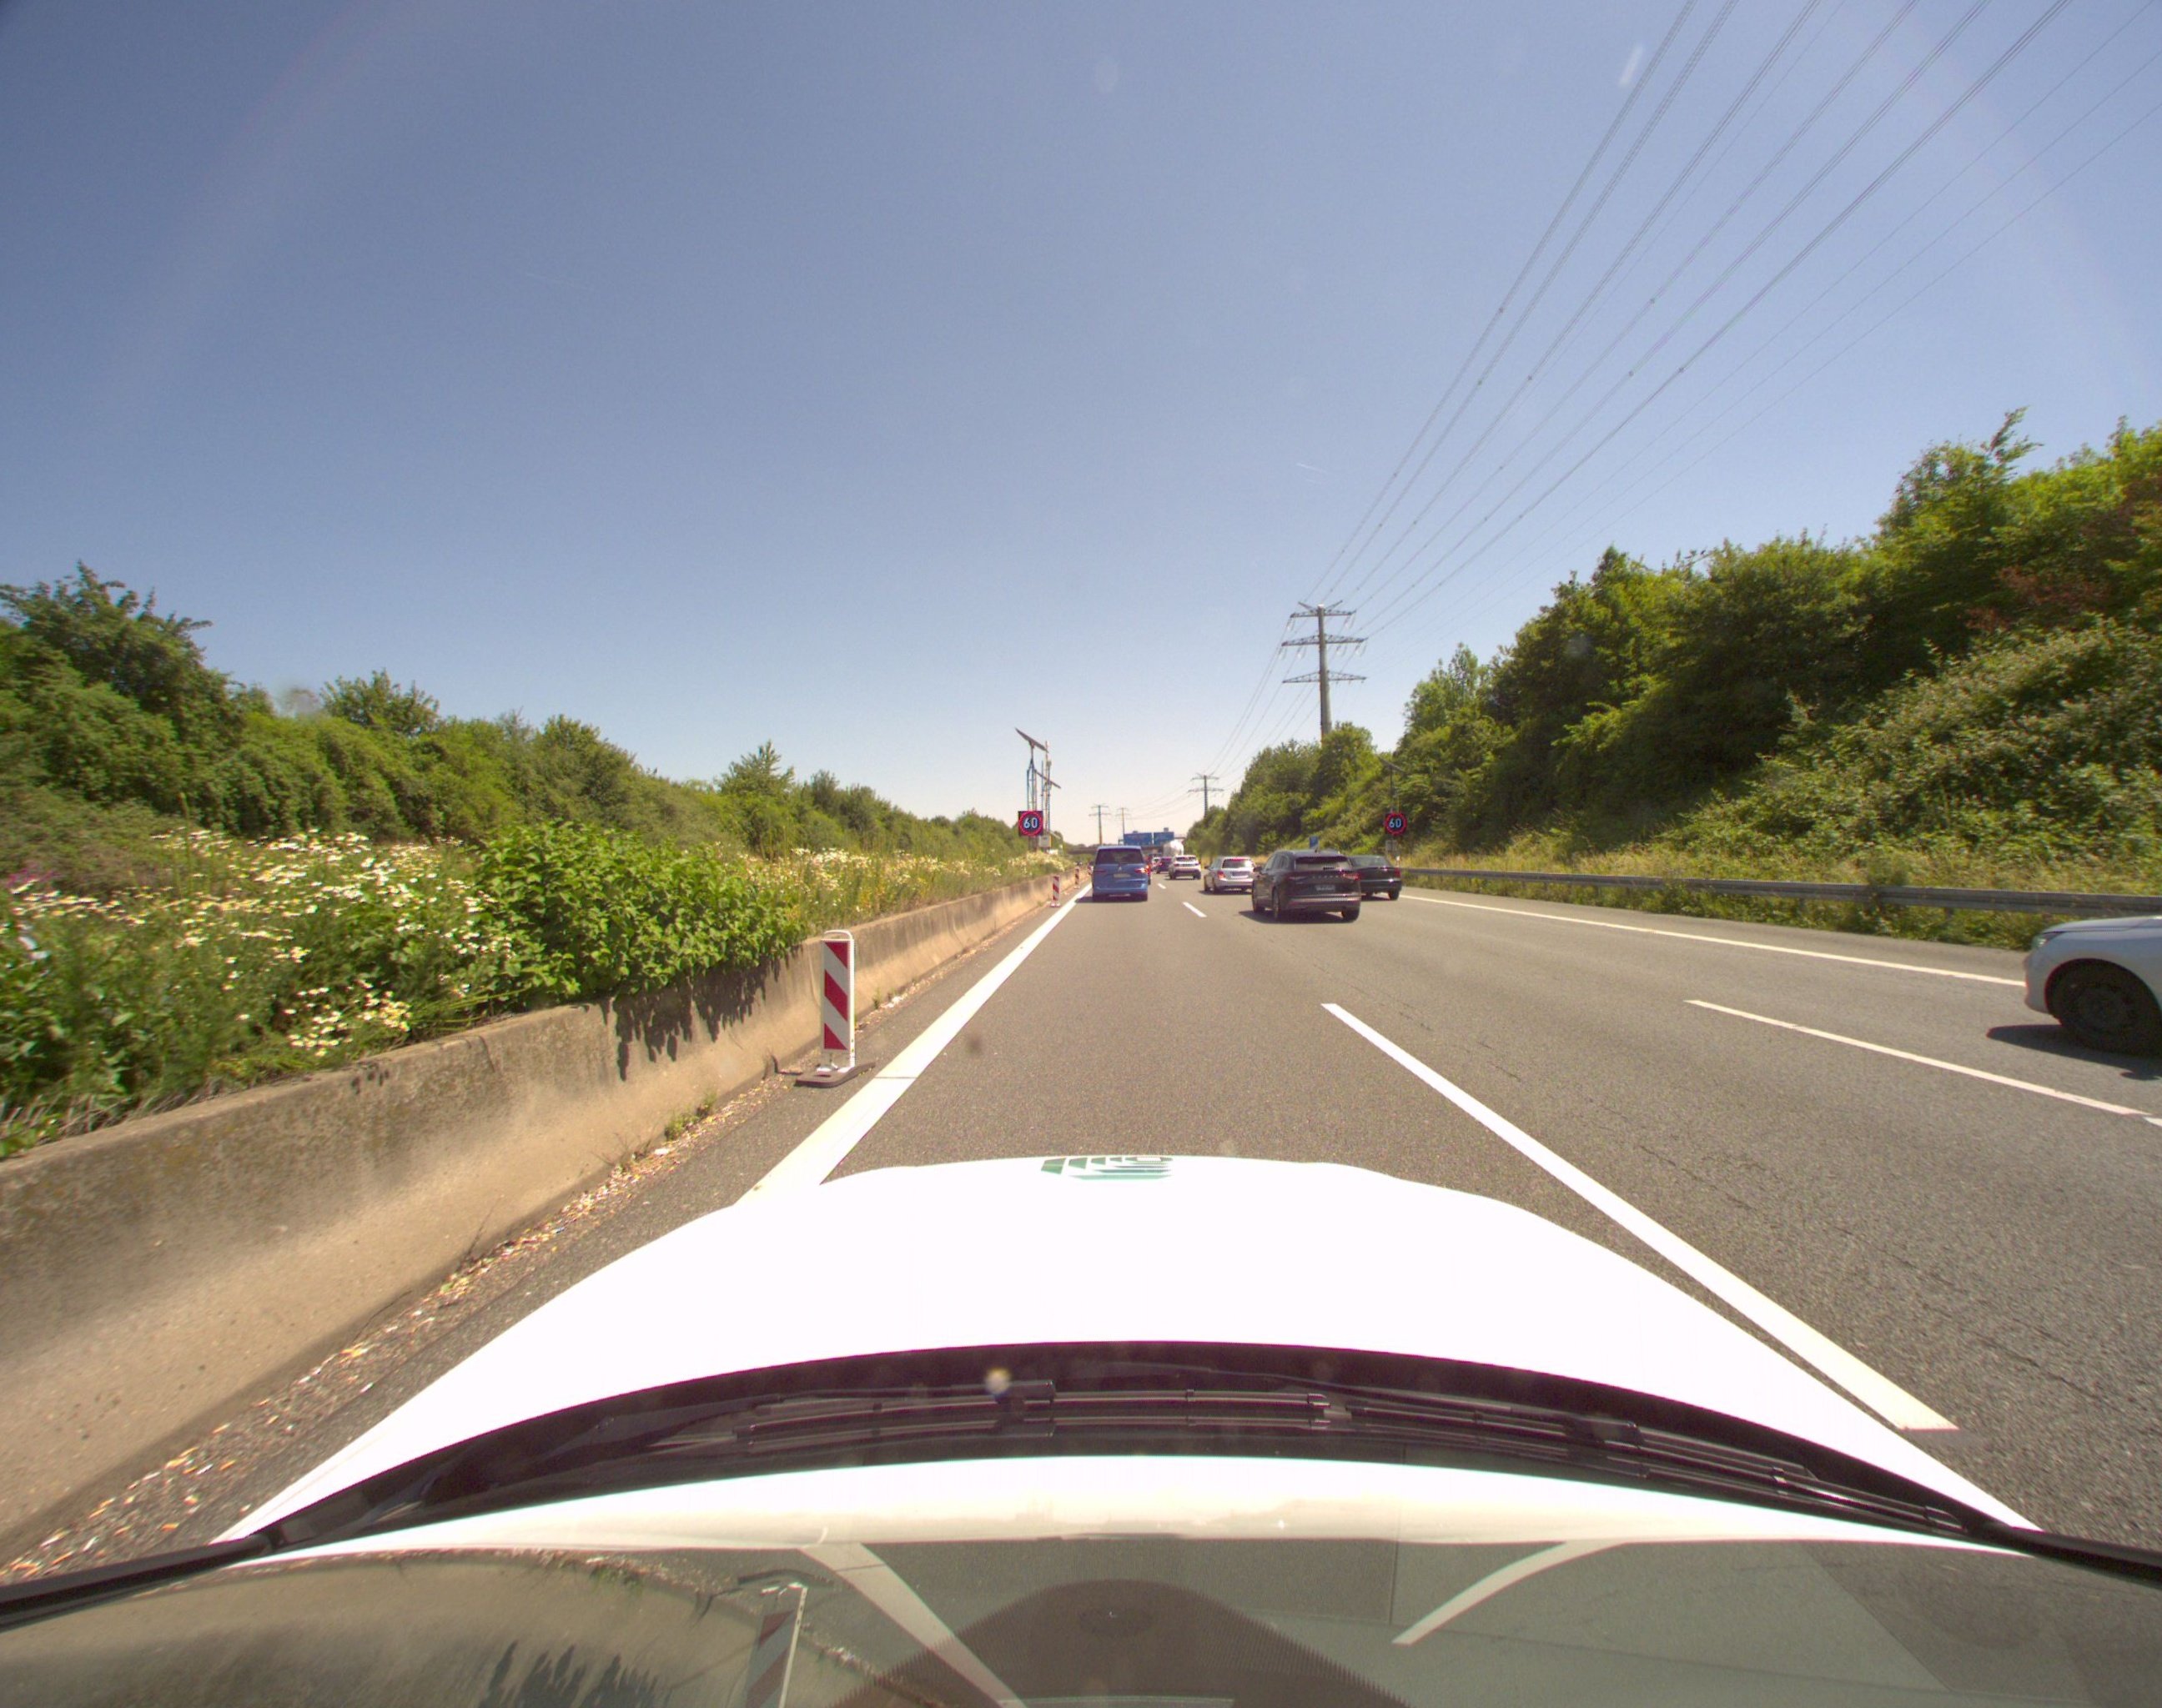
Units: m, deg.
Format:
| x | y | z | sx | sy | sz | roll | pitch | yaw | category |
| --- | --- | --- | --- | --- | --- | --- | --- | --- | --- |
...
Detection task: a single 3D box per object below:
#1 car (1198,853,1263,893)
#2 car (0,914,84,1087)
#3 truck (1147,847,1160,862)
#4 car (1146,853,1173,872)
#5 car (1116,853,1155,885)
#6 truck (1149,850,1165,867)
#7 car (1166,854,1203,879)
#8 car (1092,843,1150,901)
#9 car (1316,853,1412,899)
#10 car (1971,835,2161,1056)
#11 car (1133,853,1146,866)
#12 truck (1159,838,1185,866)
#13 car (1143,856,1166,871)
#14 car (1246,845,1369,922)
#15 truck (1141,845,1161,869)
| x | y | z | sx | sy | sz | roll | pitch | yaw | category |
| --- | --- | --- | --- | --- | --- | --- | --- | --- | --- |
| 5.869 | 0.715 | 32.398 | 1.815 | 1.437 | 4.384 | 0 | 0 | 1 | car |
| -10.802 | 1.397 | 6.064 | 1.696 | 1.532 | 4.002 | -2 | 0 | 2 | car |
| 21.899 | 0.239 | 246.178 | 2.927 | 4.291 | 12.556 | 0 | 0 | 2 | truck |
| 6.742 | 0.731 | 70.278 | 1.902 | 1.516 | 4.384 | 0 | 0 | 1 | car |
| 2.852 | 0.781 | 43.734 | 1.901 | 1.631 | 4.385 | -1 | 0 | 1 | car |
| 15.994 | 0.914 | 171.694 | 2.635 | 3.539 | 12.556 | 0 | 0 | 2 | truck |
| 6.558 | 0.769 | 52.026 | 1.902 | 1.508 | 3.922 | 0 | 0 | 1 | car |
| 1.327 | 0.606 | 28.850 | 1.865 | 1.879 | 4.383 | 0 | 0 | 0 | car |
| 9.196 | 0.687 | 26.814 | 1.728 | 1.378 | 4.303 | 0 | 0 | 1 | car |
| 8.012 | 0.597 | 4.573 | 1.734 | 1.470 | 4.016 | -1 | 0 | 2 | car |
| 9.270 | 0.800 | 129.431 | 1.986 | 2.014 | 4.001 | 0 | 0 | 2 | car |
| 14.045 | -0.265 | 126.836 | 2.635 | 4.072 | 16.446 | 0 | 0 | 2 | truck |
| 7.419 | 0.926 | 82.474 | 1.902 | 1.516 | 4.384 | 0 | 0 | 1 | car |
| 5.262 | 0.623 | 19.506 | 1.821 | 1.614 | 4.432 | -1 | 0 | 2 | car |
| 8.420 | 0.351 | 98.150 | 1.986 | 2.723 | 5.682 | 0 | 0 | 2 | truck |
